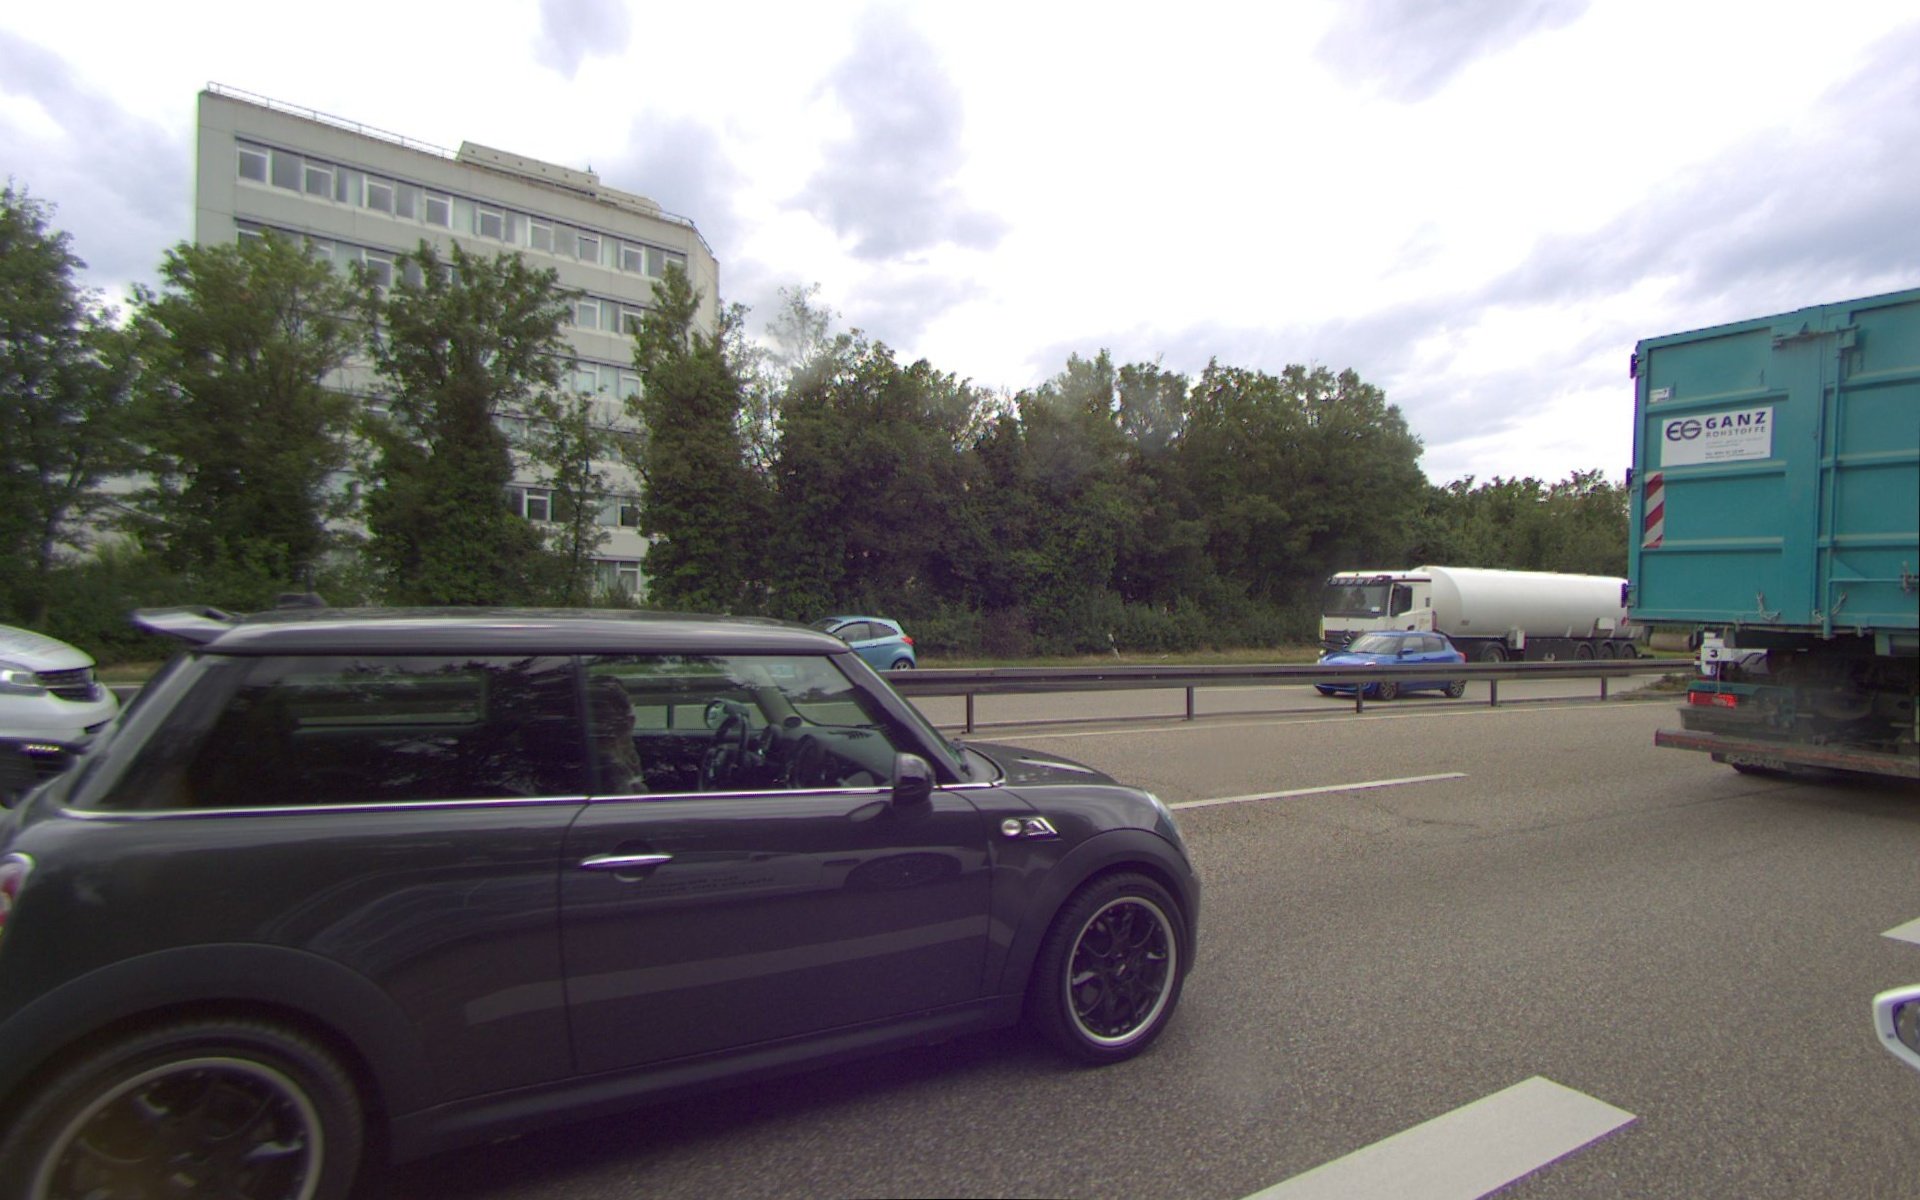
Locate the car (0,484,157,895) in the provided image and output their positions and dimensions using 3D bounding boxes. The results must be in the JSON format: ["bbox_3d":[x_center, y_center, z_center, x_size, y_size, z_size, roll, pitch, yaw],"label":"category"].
[{"bbox_3d":[-6.734,0.373,4.355,4.823,1.917,1.841,2,-1,-32],"label":"car"}]

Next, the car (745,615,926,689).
[{"bbox_3d":[-2.738,1.115,22.230,3.662,1.521,1.584,1,-1,-31],"label":"car"}]

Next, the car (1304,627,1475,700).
[{"bbox_3d":[9.733,1.387,22.692,3.880,1.521,1.584,1,-1,-31],"label":"car"}]

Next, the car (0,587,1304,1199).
[{"bbox_3d":[-0.763,0.734,3.405,3.622,1.441,1.739,2,-1,-31],"label":"car"}]

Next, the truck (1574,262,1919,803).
[{"bbox_3d":[11.122,-0.350,10.860,11.202,3.847,2.914,1,-1,-32],"label":"truck"}]

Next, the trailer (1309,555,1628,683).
[{"bbox_3d":[16.042,0.666,31.056,12.315,3.441,2.459,2,-1,-30],"label":"trailer"}]
